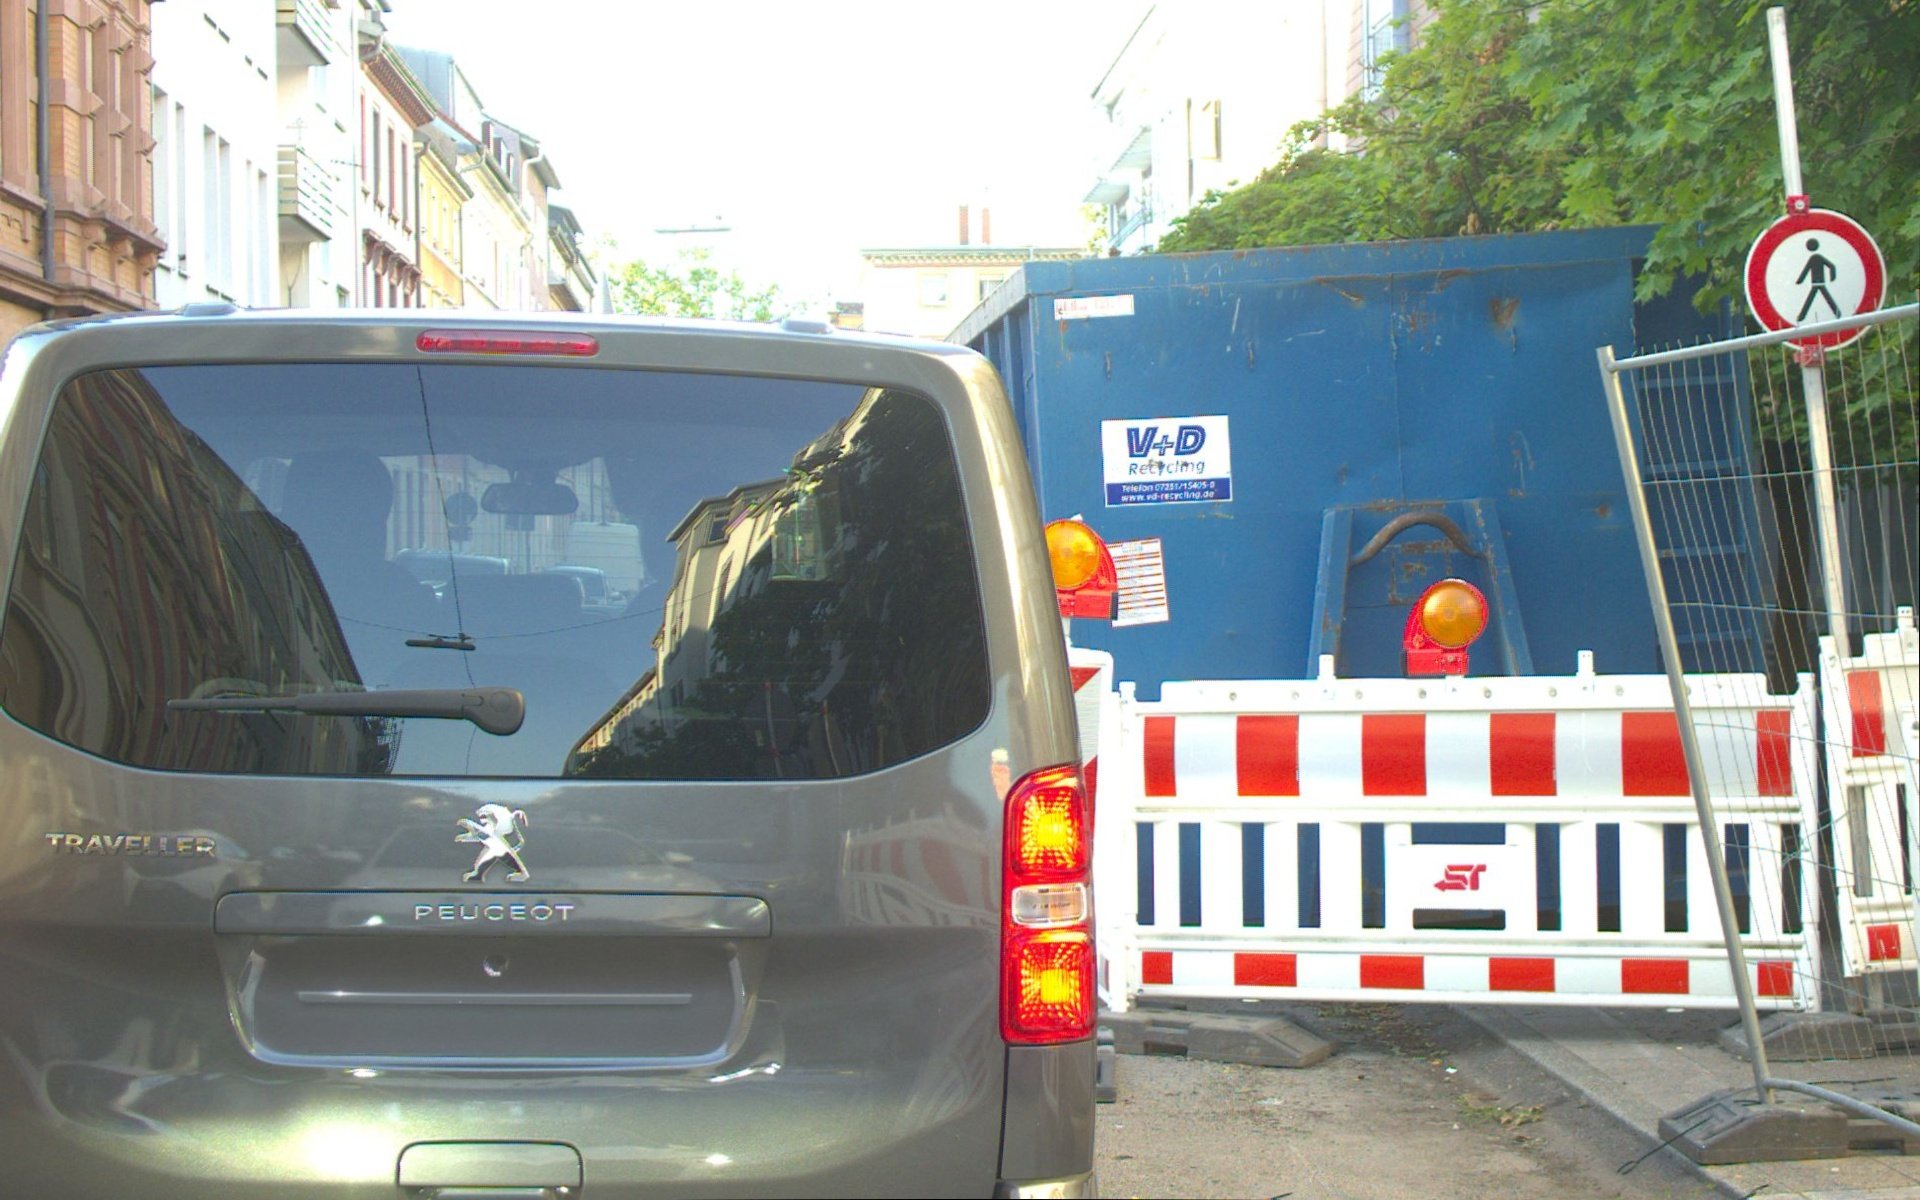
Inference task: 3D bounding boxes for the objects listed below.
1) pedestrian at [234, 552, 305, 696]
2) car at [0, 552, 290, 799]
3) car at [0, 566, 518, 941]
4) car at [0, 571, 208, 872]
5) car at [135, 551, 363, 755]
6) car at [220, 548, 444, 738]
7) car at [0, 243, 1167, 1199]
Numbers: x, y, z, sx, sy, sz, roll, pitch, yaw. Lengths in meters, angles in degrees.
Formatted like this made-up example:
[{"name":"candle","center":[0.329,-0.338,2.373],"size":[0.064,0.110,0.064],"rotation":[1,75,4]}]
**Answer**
[{"name":"pedestrian","center":[-8.052,0.274,40.116],"size":[0.739,1.659,0.704],"rotation":[-1,1,-7]},{"name":"car","center":[-5.757,0.490,24.292],"size":[1.655,1.520,3.418],"rotation":[4,0,-7]},{"name":"car","center":[-3.106,0.625,15.420],"size":[1.656,1.455,3.417],"rotation":[-2,0,2]},{"name":"car","center":[-5.217,0.586,18.985],"size":[1.655,1.455,3.418],"rotation":[4,0,-7]},{"name":"car","center":[-6.435,0.458,31.373],"size":[1.666,1.660,3.092],"rotation":[4,0,-7]},{"name":"car","center":[-6.337,0.408,35.018],"size":[1.891,1.714,3.755],"rotation":[4,0,-7]},{"name":"car","center":[-0.891,0.469,6.654],"size":[1.865,1.880,4.236],"rotation":[0,0,-7]}]
